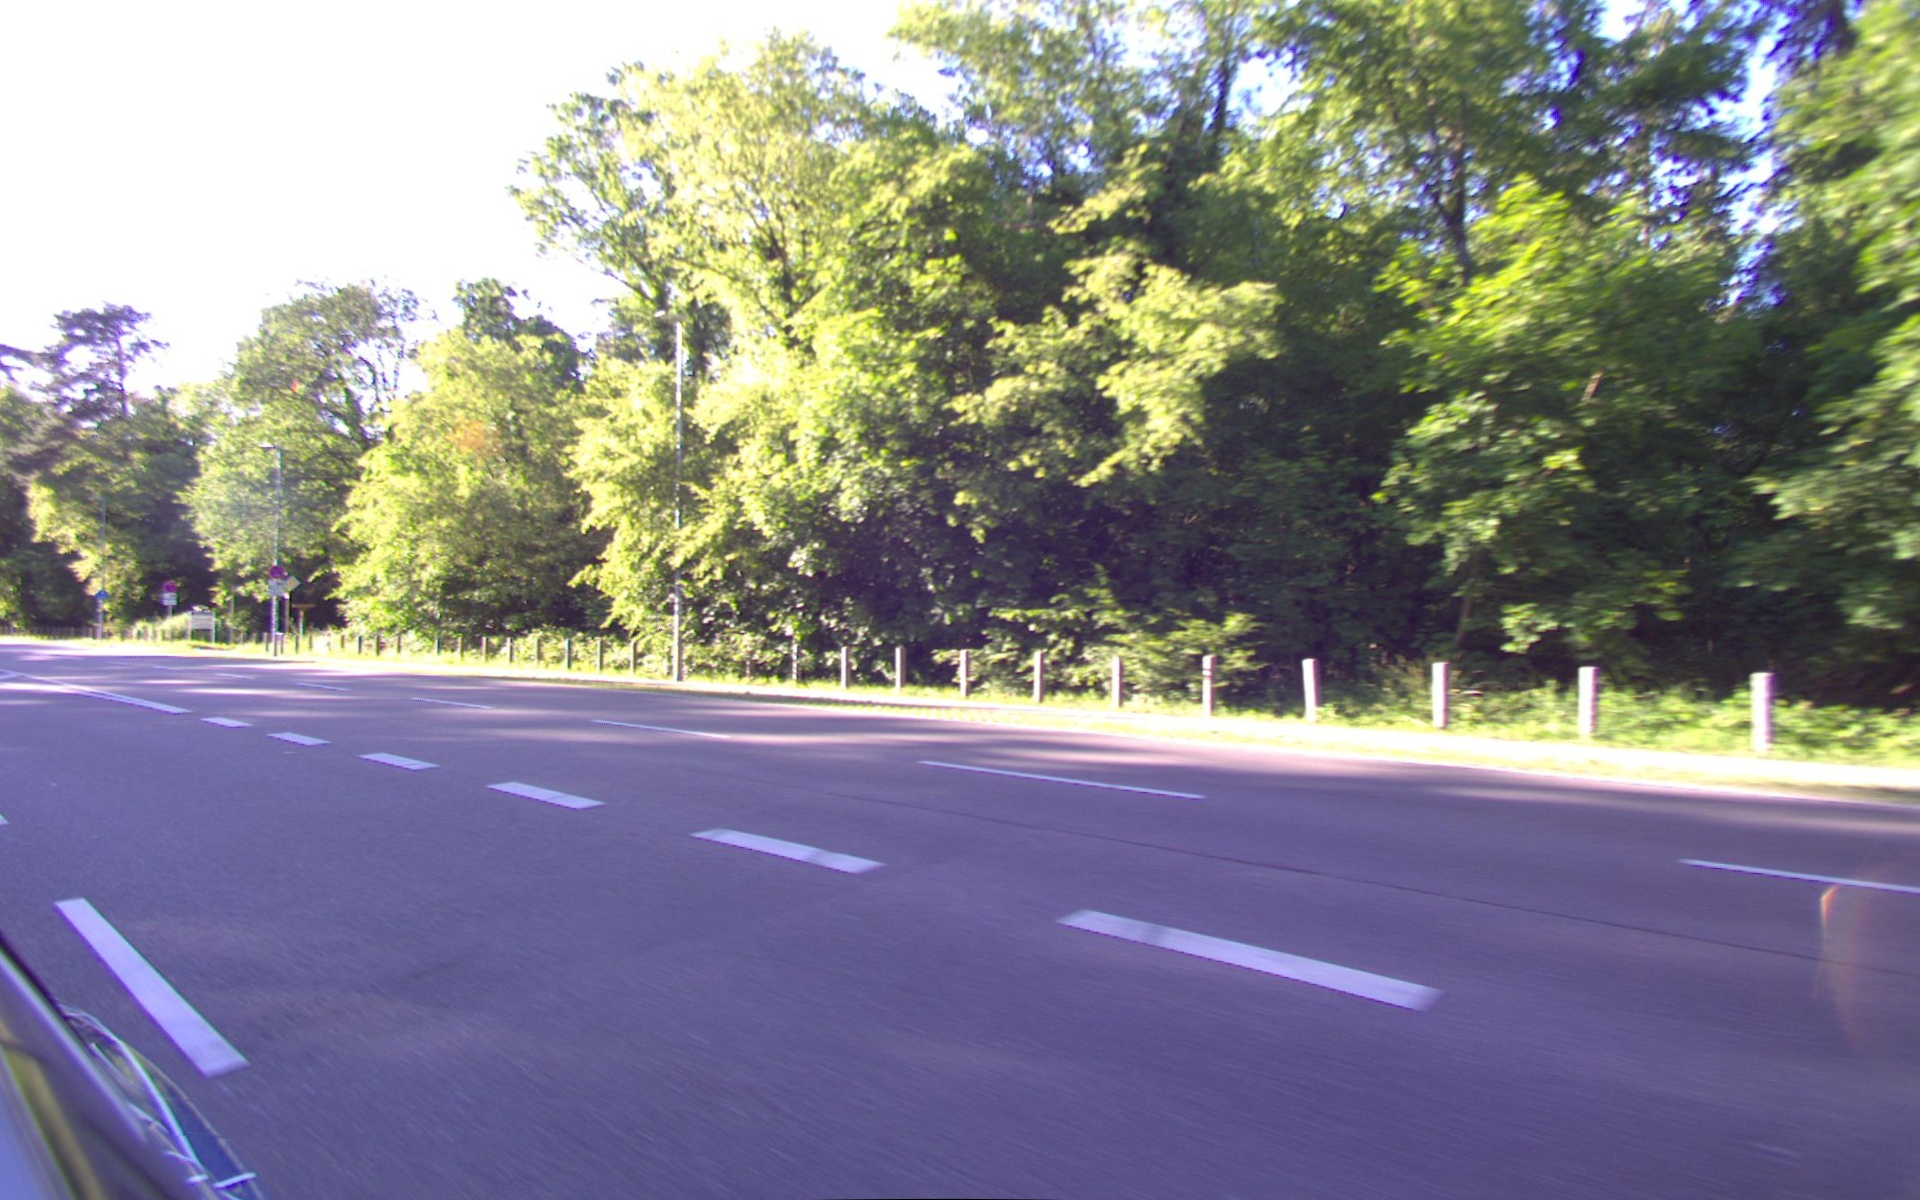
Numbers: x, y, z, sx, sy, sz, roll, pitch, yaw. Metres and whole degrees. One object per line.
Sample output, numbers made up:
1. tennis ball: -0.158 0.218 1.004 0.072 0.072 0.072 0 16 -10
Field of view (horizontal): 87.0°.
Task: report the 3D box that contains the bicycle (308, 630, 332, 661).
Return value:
1. bicycle: -25.236 1.766 39.895 0.396 1.140 2.222 -2 1 -42
